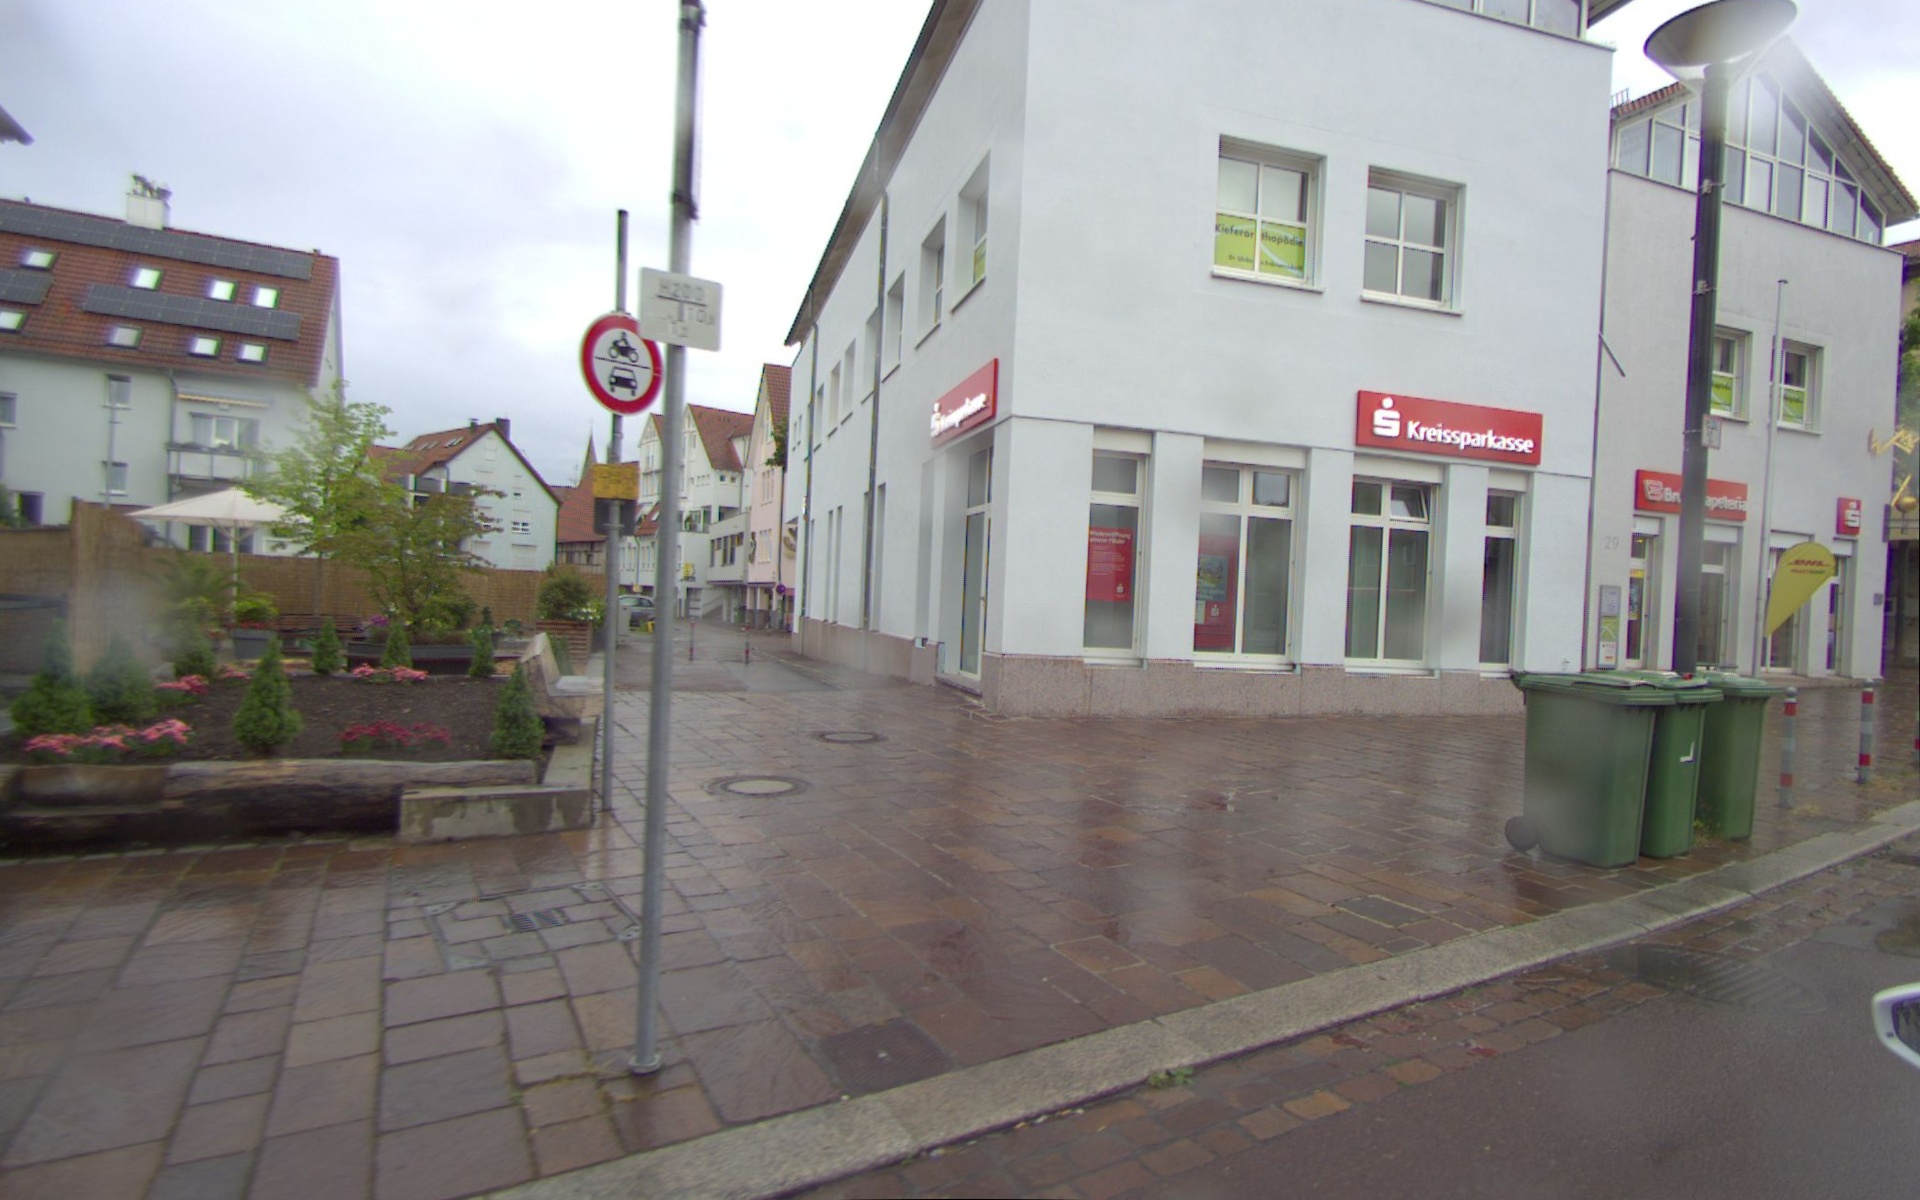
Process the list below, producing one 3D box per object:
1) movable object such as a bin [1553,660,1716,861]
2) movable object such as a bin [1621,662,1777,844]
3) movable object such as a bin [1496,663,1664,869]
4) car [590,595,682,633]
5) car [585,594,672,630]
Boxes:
[{"bbox_3d":[4.198,0.959,6.268,0.546,1.129,0.655,2,0,-29],"label":"movable object such as a bin"},{"bbox_3d":[4.999,0.998,6.809,0.606,1.110,0.655,2,0,-31],"label":"movable object such as a bin"},{"bbox_3d":[3.673,0.943,5.971,0.546,1.097,0.655,2,0,-29],"label":"movable object such as a bin"},{"bbox_3d":[-13.281,0.566,41.161,3.484,1.439,1.605,2,0,-22],"label":"car"},{"bbox_3d":[-14.287,0.525,43.282,3.484,1.439,1.605,2,0,-22],"label":"car"}]
